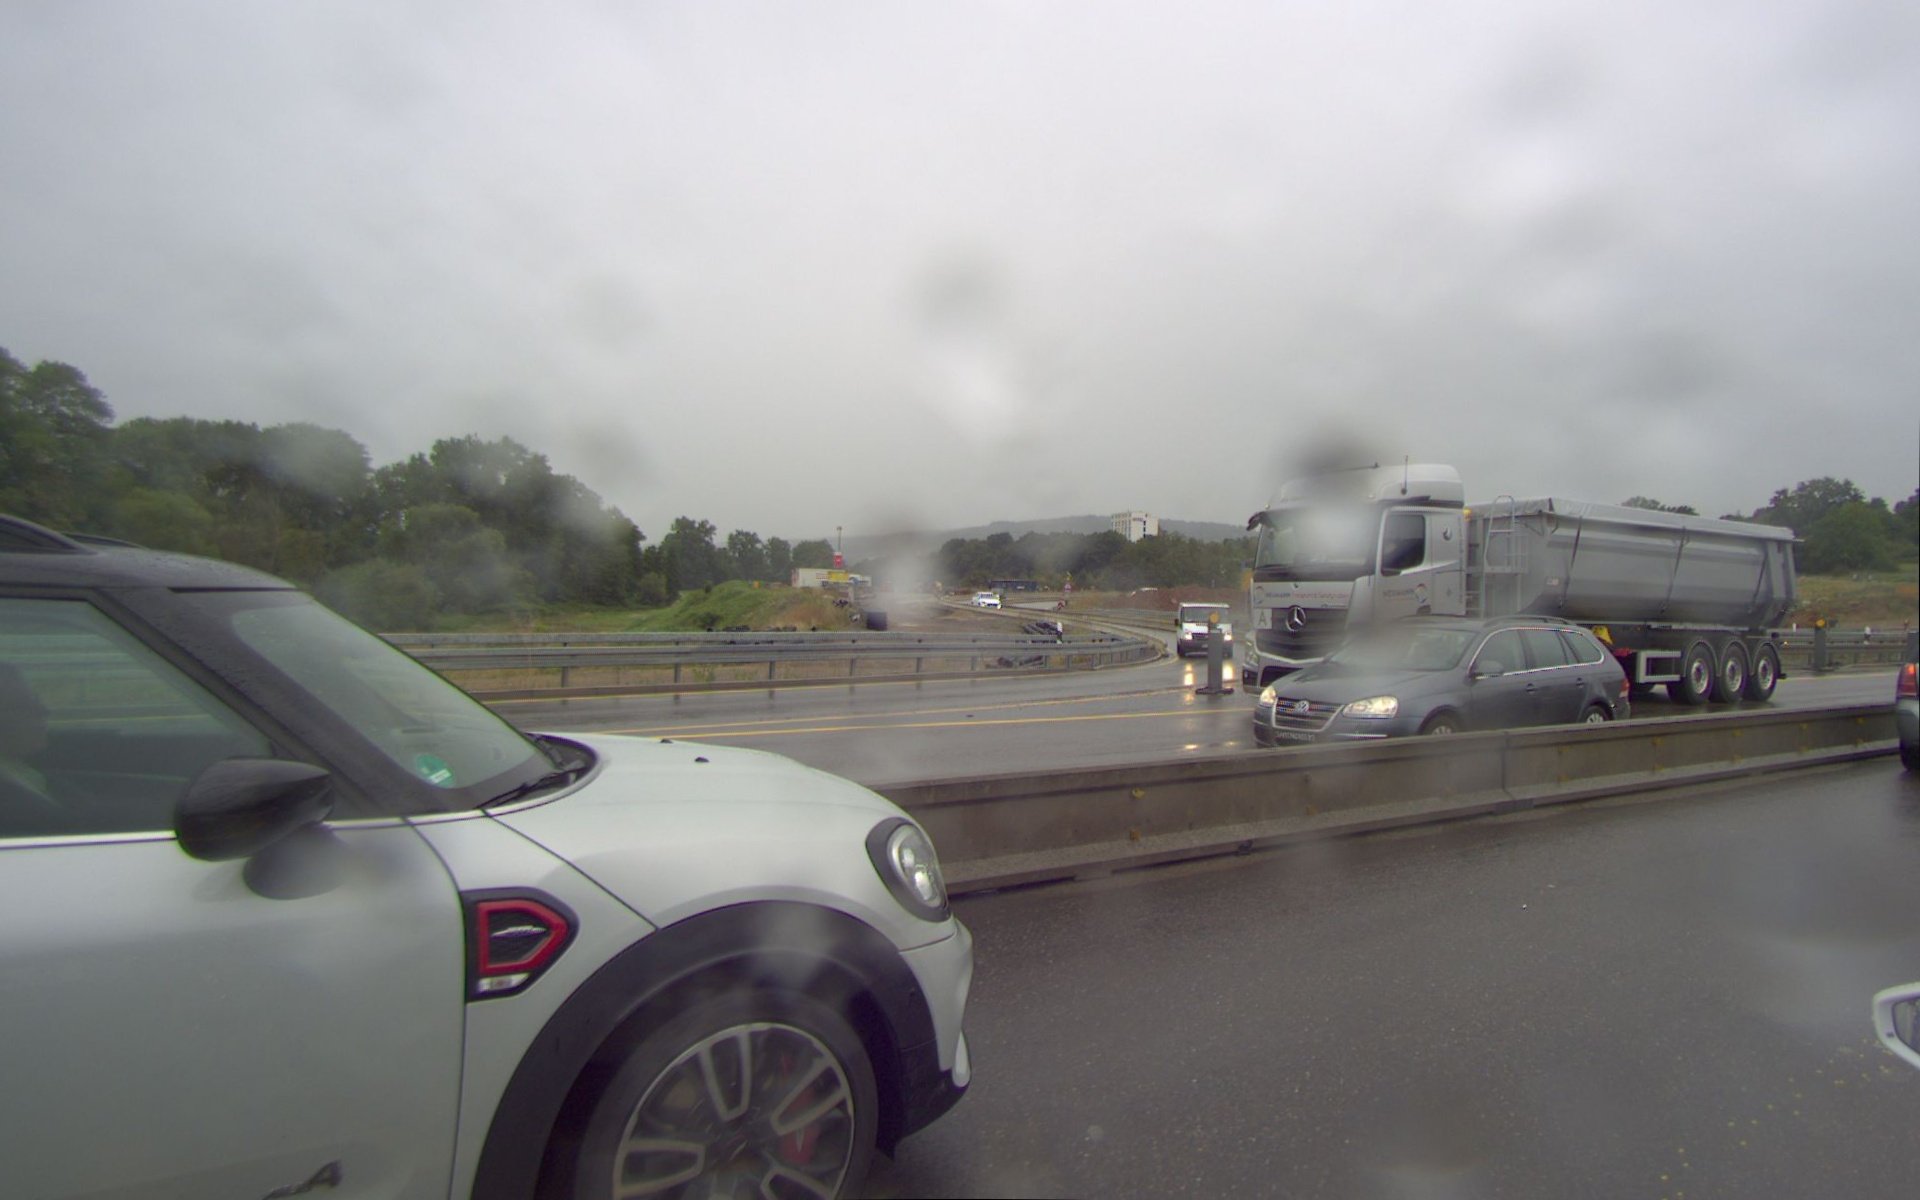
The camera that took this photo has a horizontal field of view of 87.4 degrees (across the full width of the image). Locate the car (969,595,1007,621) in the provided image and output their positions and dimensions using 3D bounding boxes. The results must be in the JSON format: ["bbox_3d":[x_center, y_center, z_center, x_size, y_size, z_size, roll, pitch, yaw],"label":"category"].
[{"bbox_3d":[2.290,0.647,82.805,2.035,2.090,4.832,1,0,-12],"label":"car"}]

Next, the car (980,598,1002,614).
[{"bbox_3d":[3.449,0.672,111.072,1.813,1.723,5.049,1,0,9],"label":"car"}]

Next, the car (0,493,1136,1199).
[{"bbox_3d":[-1.848,0.648,2.218,4.257,1.622,1.807,0,1,-30],"label":"car"}]

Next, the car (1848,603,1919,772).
[{"bbox_3d":[11.231,0.882,10.310,4.092,1.622,1.984,1,0,-30],"label":"car"}]

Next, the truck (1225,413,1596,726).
[{"bbox_3d":[6.870,-0.336,15.238,5.213,3.979,2.673,1,-1,-31],"label":"truck"}]

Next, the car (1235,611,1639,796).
[{"bbox_3d":[4.780,0.884,9.946,3.954,1.473,1.701,1,0,-31],"label":"car"}]

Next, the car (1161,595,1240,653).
[{"bbox_3d":[9.178,0.854,38.740,2.226,2.040,5.048,1,0,5],"label":"car"}]

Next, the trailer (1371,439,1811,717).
[{"bbox_3d":[11.696,-0.231,18.148,9.706,4.016,2.672,1,-1,-31],"label":"trailer"}]
